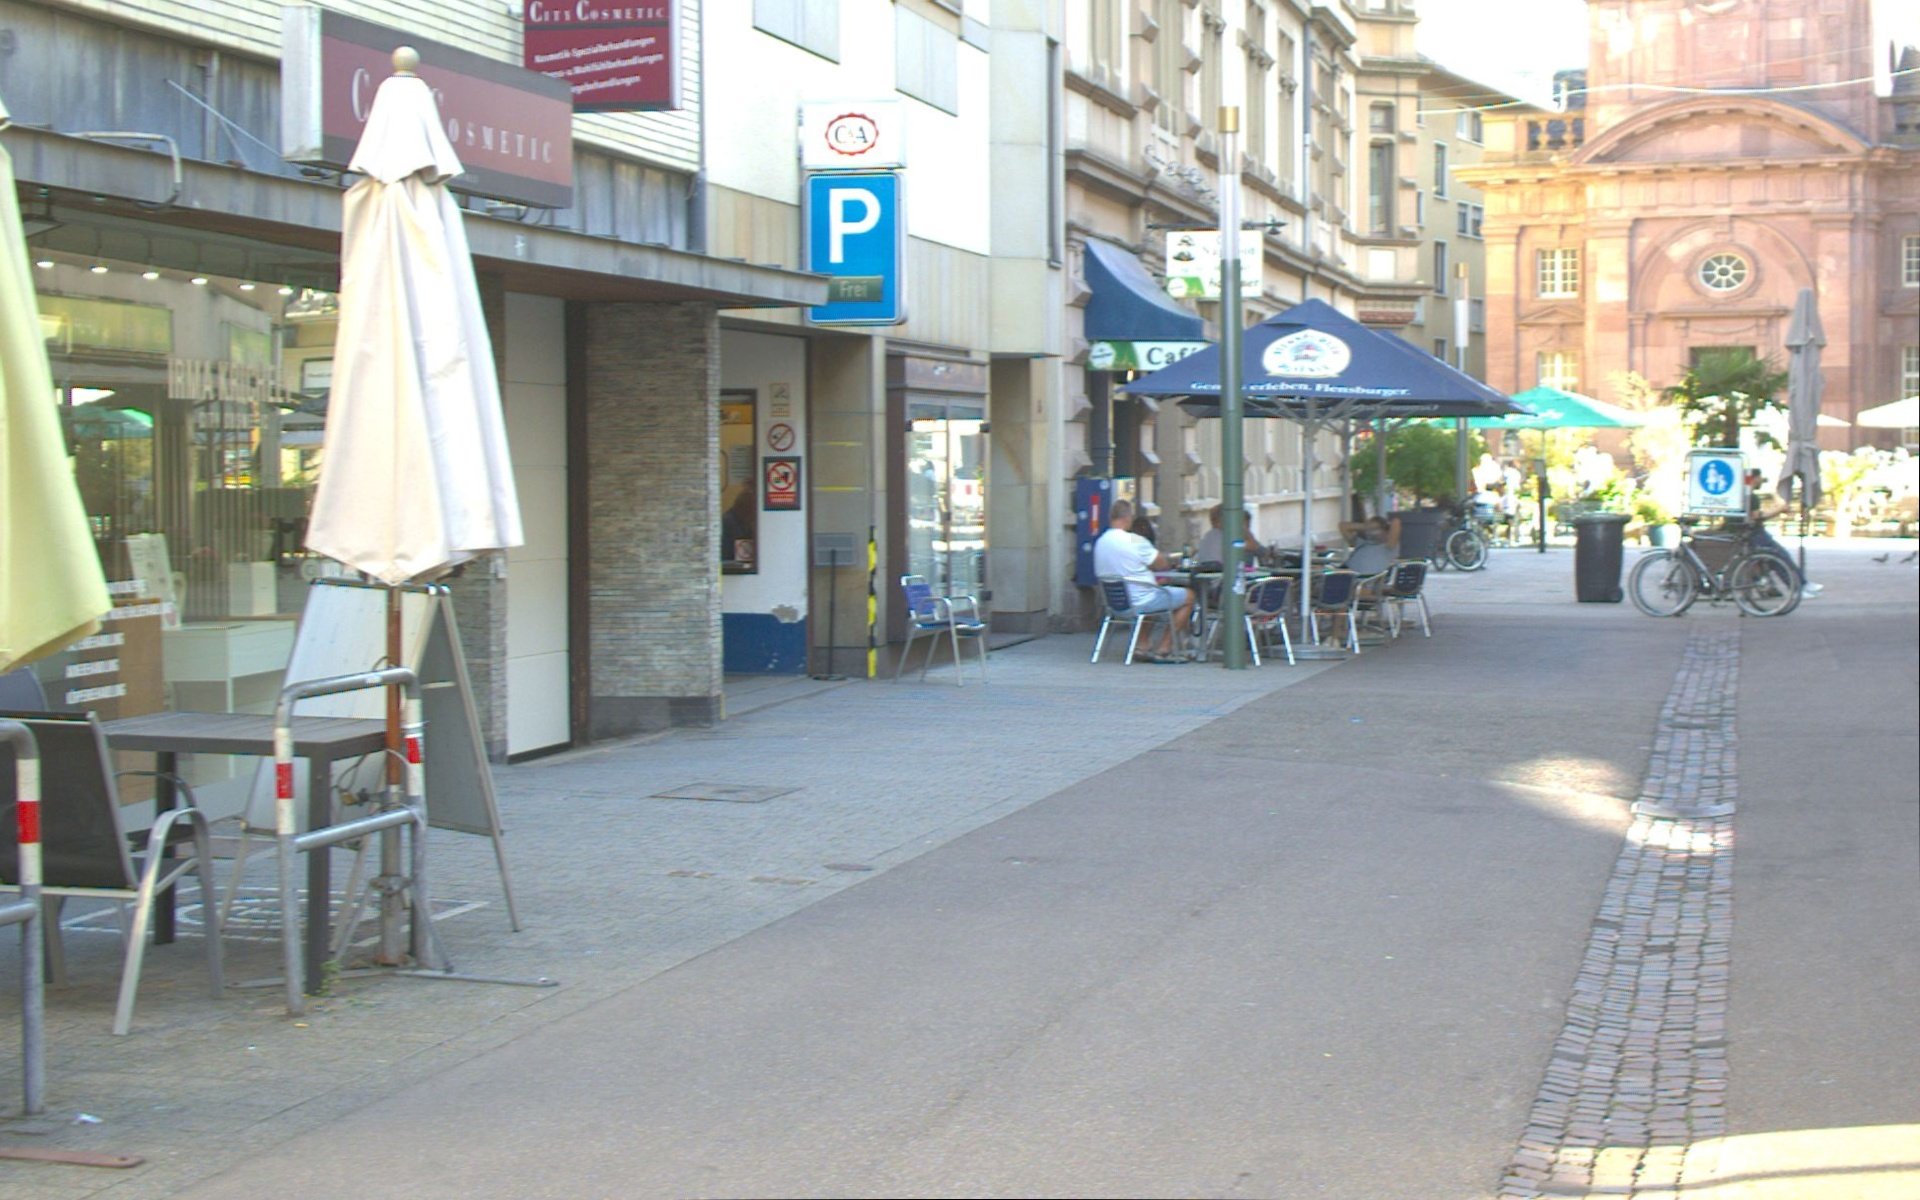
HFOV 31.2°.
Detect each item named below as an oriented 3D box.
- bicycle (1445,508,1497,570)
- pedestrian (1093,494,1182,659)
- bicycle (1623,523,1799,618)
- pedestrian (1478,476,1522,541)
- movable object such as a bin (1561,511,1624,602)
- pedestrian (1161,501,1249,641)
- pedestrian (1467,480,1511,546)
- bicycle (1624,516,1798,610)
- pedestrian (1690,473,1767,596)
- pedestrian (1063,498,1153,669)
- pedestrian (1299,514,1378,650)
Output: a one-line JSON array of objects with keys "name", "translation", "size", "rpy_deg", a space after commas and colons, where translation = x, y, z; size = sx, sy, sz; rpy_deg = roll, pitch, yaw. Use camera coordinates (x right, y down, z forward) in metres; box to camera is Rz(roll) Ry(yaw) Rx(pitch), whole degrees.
[{"name": "bicycle", "translation": [7.390, -0.895, 49.700], "size": [0.457, 0.847, 2.145], "rpy_deg": [0, 2, 16]}, {"name": "pedestrian", "translation": [1.488, -0.202, 28.946], "size": [0.717, 1.363, 0.710], "rpy_deg": [0, 2, 1]}, {"name": "bicycle", "translation": [8.061, -0.323, 36.941], "size": [1.824, 1.001, 0.381], "rpy_deg": [0, 2, 10]}, {"name": "pedestrian", "translation": [10.226, -1.732, 65.081], "size": [0.701, 1.213, 0.719], "rpy_deg": [1, 2, 19]}, {"name": "movable object such as a bin", "translation": [7.455, -0.515, 40.492], "size": [0.722, 1.071, 0.374], "rpy_deg": [0, 2, 12]}, {"name": "pedestrian", "translation": [2.194, -0.266, 30.692], "size": [0.765, 1.229, 0.831], "rpy_deg": [0, 2, 5]}, {"name": "pedestrian", "translation": [9.808, -1.618, 63.712], "size": [0.701, 1.213, 0.719], "rpy_deg": [1, 2, 19]}, {"name": "bicycle", "translation": [8.152, -0.405, 37.334], "size": [1.824, 1.001, 0.381], "rpy_deg": [0, 2, 10]}, {"name": "pedestrian", "translation": [9.249, -0.794, 41.349], "size": [0.884, 1.459, 0.730], "rpy_deg": [0, 2, 13]}, {"name": "pedestrian", "translation": [1.203, -0.141, 27.968], "size": [0.708, 1.363, 0.720], "rpy_deg": [0, 2, 1]}, {"name": "pedestrian", "translation": [3.417, -0.166, 31.082], "size": [0.692, 1.211, 0.583], "rpy_deg": [0, 2, 5]}]
